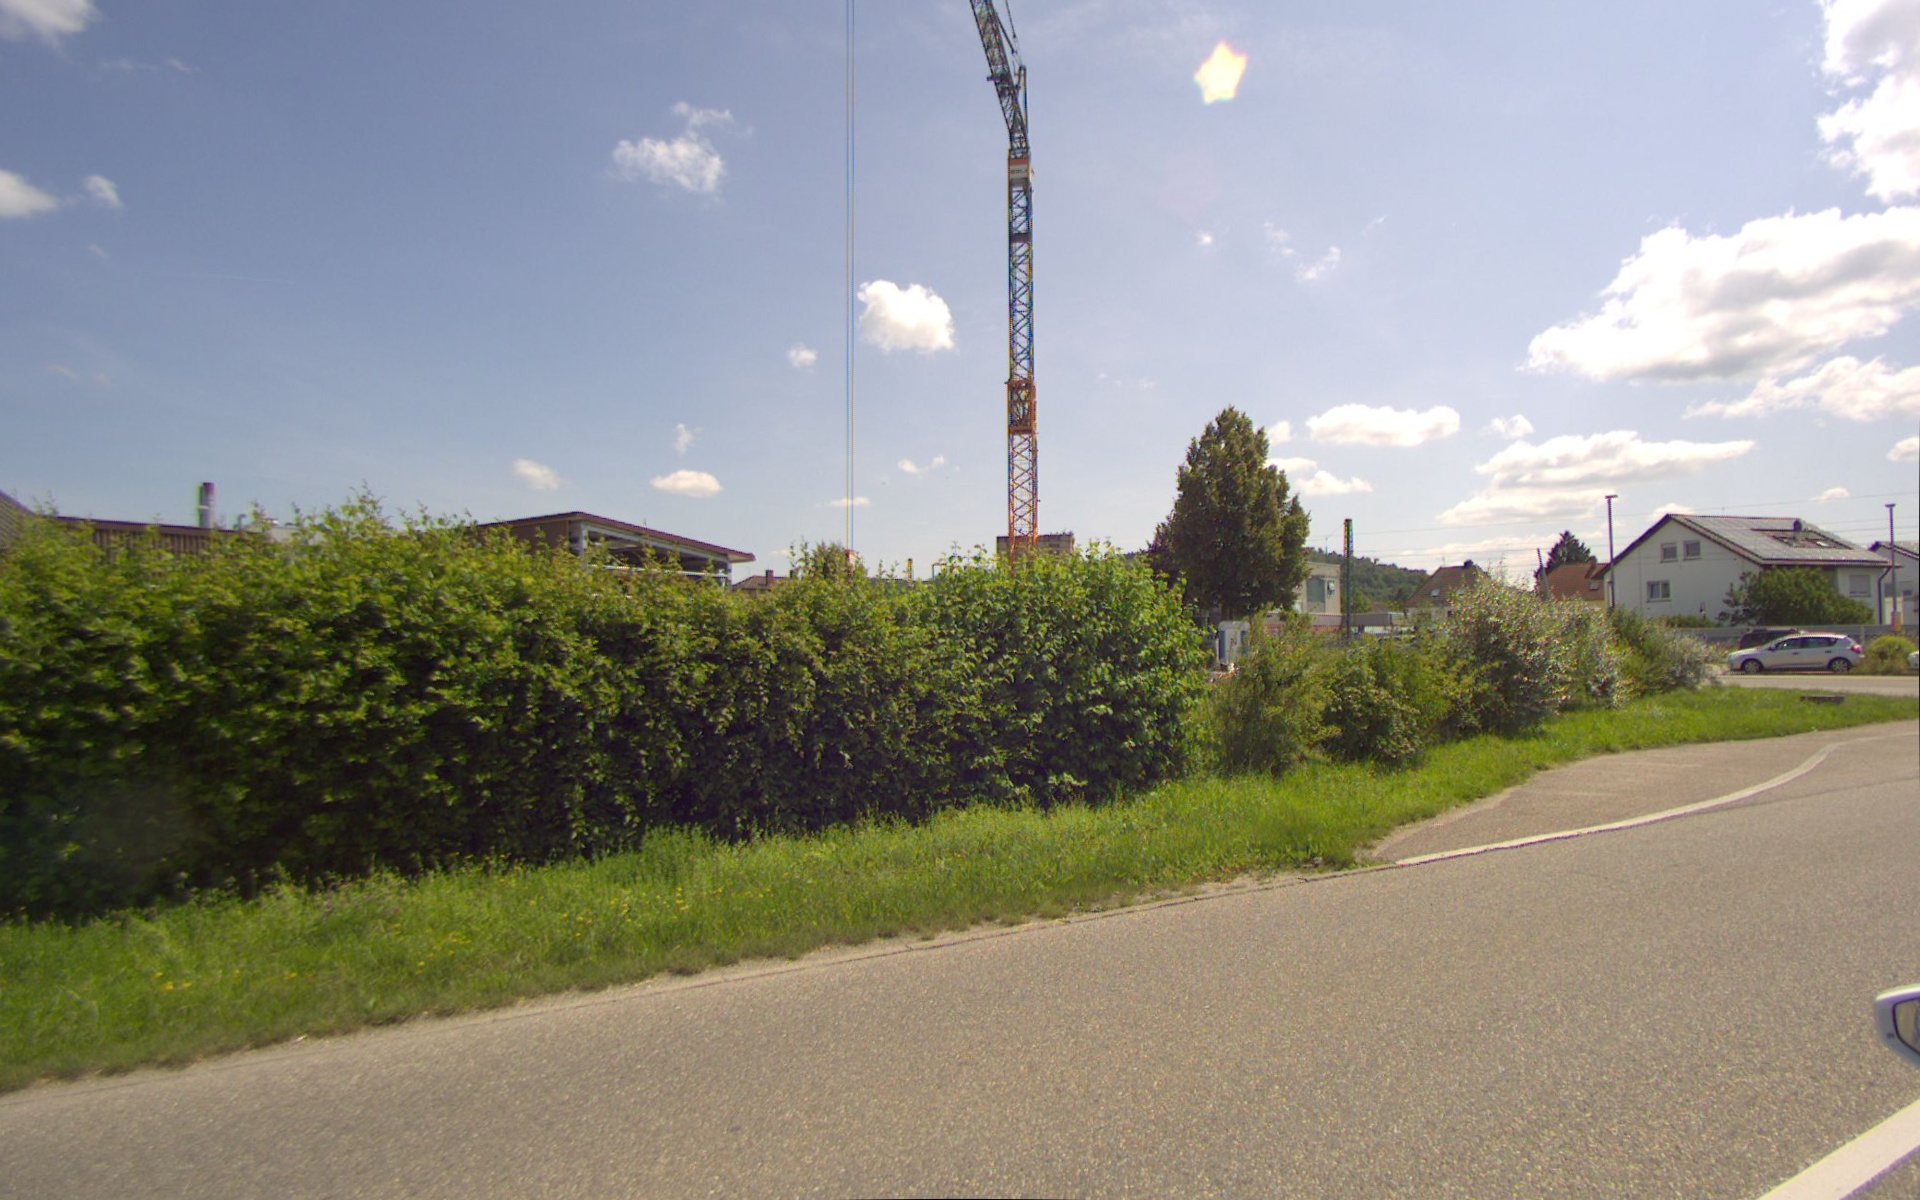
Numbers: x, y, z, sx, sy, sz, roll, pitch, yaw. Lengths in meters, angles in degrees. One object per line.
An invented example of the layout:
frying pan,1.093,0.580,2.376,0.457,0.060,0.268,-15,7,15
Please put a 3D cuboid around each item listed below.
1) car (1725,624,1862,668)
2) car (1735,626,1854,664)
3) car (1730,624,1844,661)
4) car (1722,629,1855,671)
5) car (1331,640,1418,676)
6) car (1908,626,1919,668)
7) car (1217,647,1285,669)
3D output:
car,34.246,1.925,41.331,4.118,1.659,1.944,-5,-5,44
car,35.981,1.949,43.391,1.682,1.579,3.748,2,-3,-42
car,37.280,1.933,45.330,1.487,1.610,3.793,2,-3,-44
car,32.774,1.964,39.775,3.958,1.582,1.812,-2,-3,43
car,22.750,3.161,55.225,3.947,1.916,1.988,-3,-3,45
car,36.432,1.707,35.429,1.813,1.496,4.245,2,-2,-41
car,18.350,3.646,63.507,1.522,1.331,3.954,1,-3,-40
